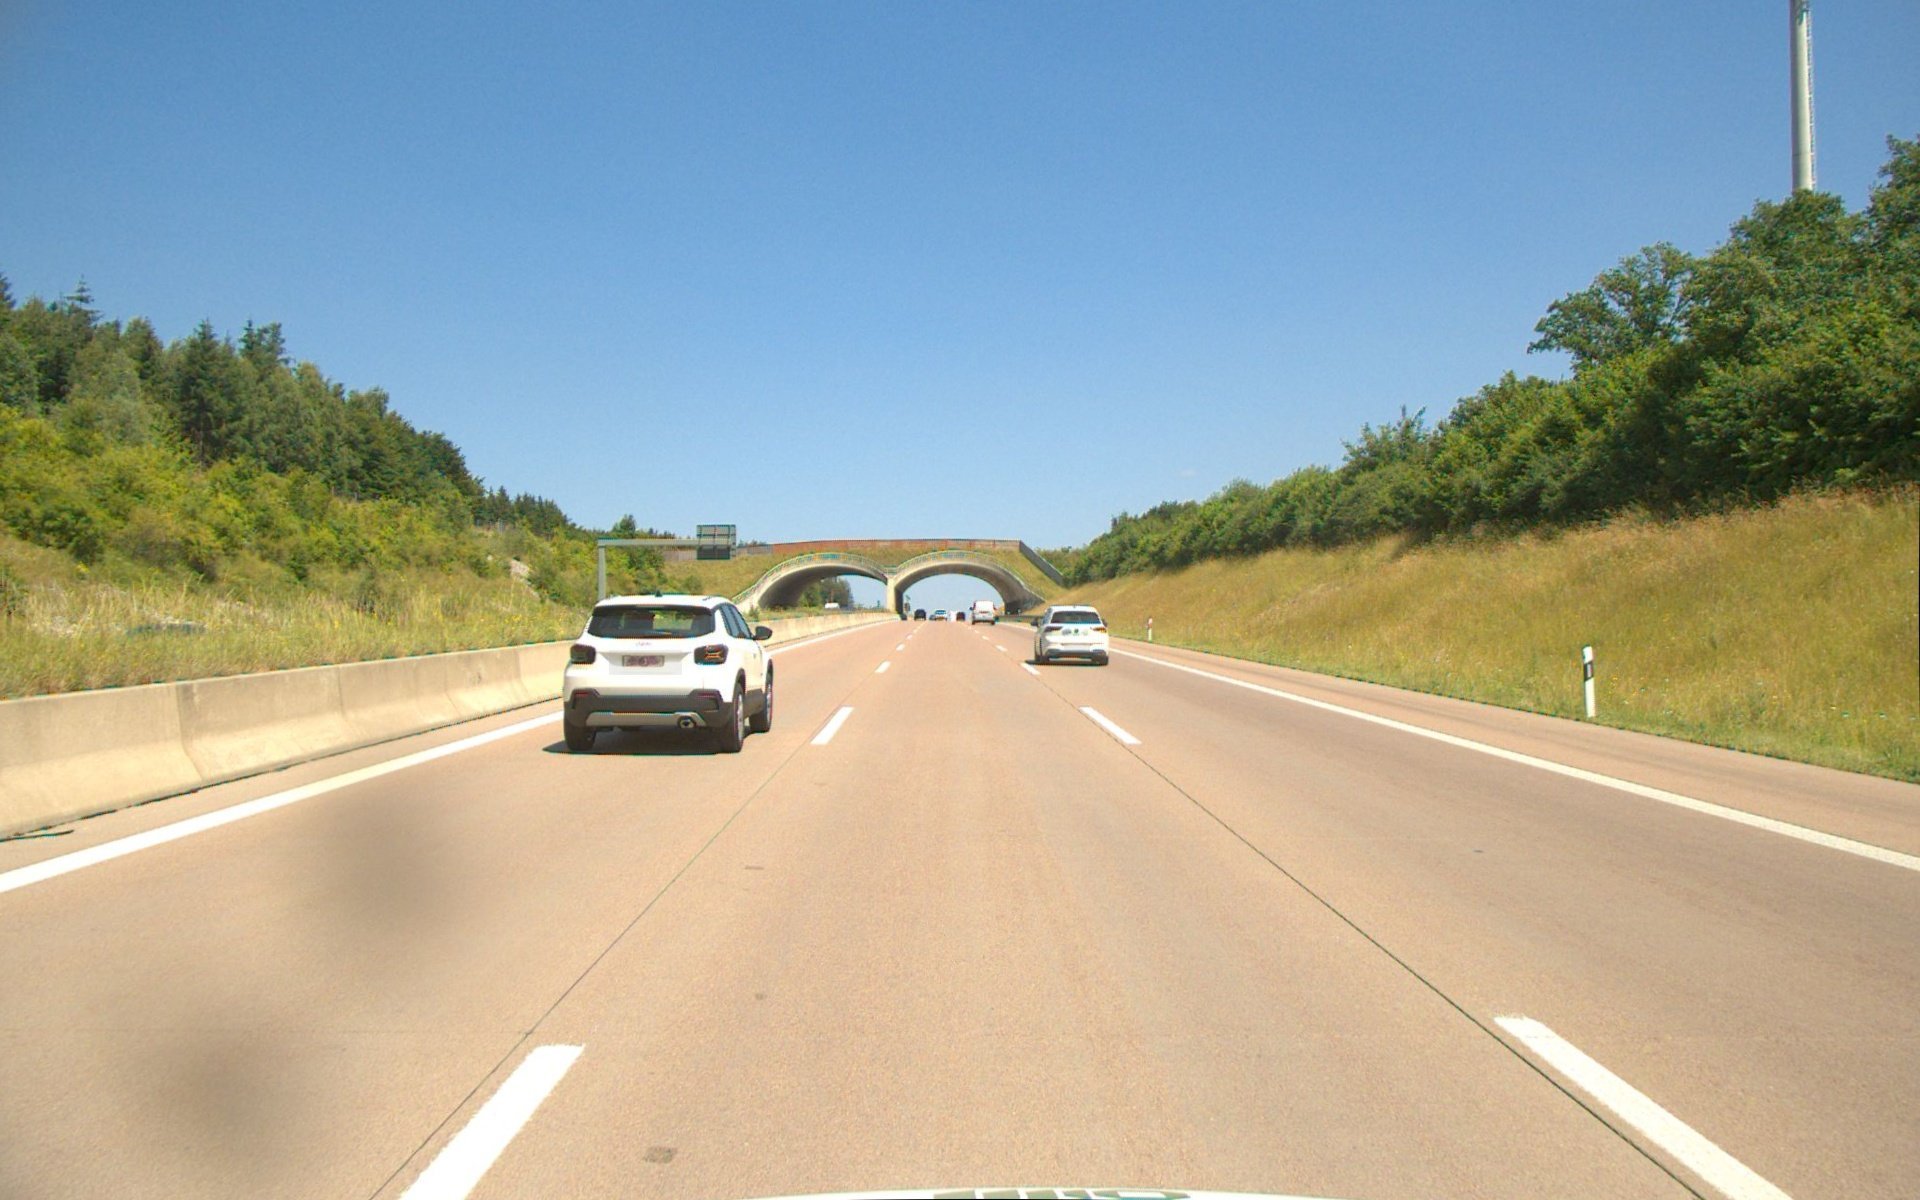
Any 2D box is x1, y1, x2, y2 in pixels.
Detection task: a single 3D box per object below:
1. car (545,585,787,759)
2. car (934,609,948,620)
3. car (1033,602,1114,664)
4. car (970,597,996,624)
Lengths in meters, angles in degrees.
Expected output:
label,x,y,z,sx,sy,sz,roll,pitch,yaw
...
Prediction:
label,x,y,z,sx,sy,sz,roll,pitch,yaw
car,-3.025,0.673,18.022,1.841,1.635,4.833,0,0,-1
car,-2.640,2.032,230.304,1.852,1.489,4.000,1,0,-1
car,2.849,0.803,42.304,1.852,1.422,4.001,1,1,1
car,1.866,0.835,134.860,2.067,2.089,4.001,0,1,1
